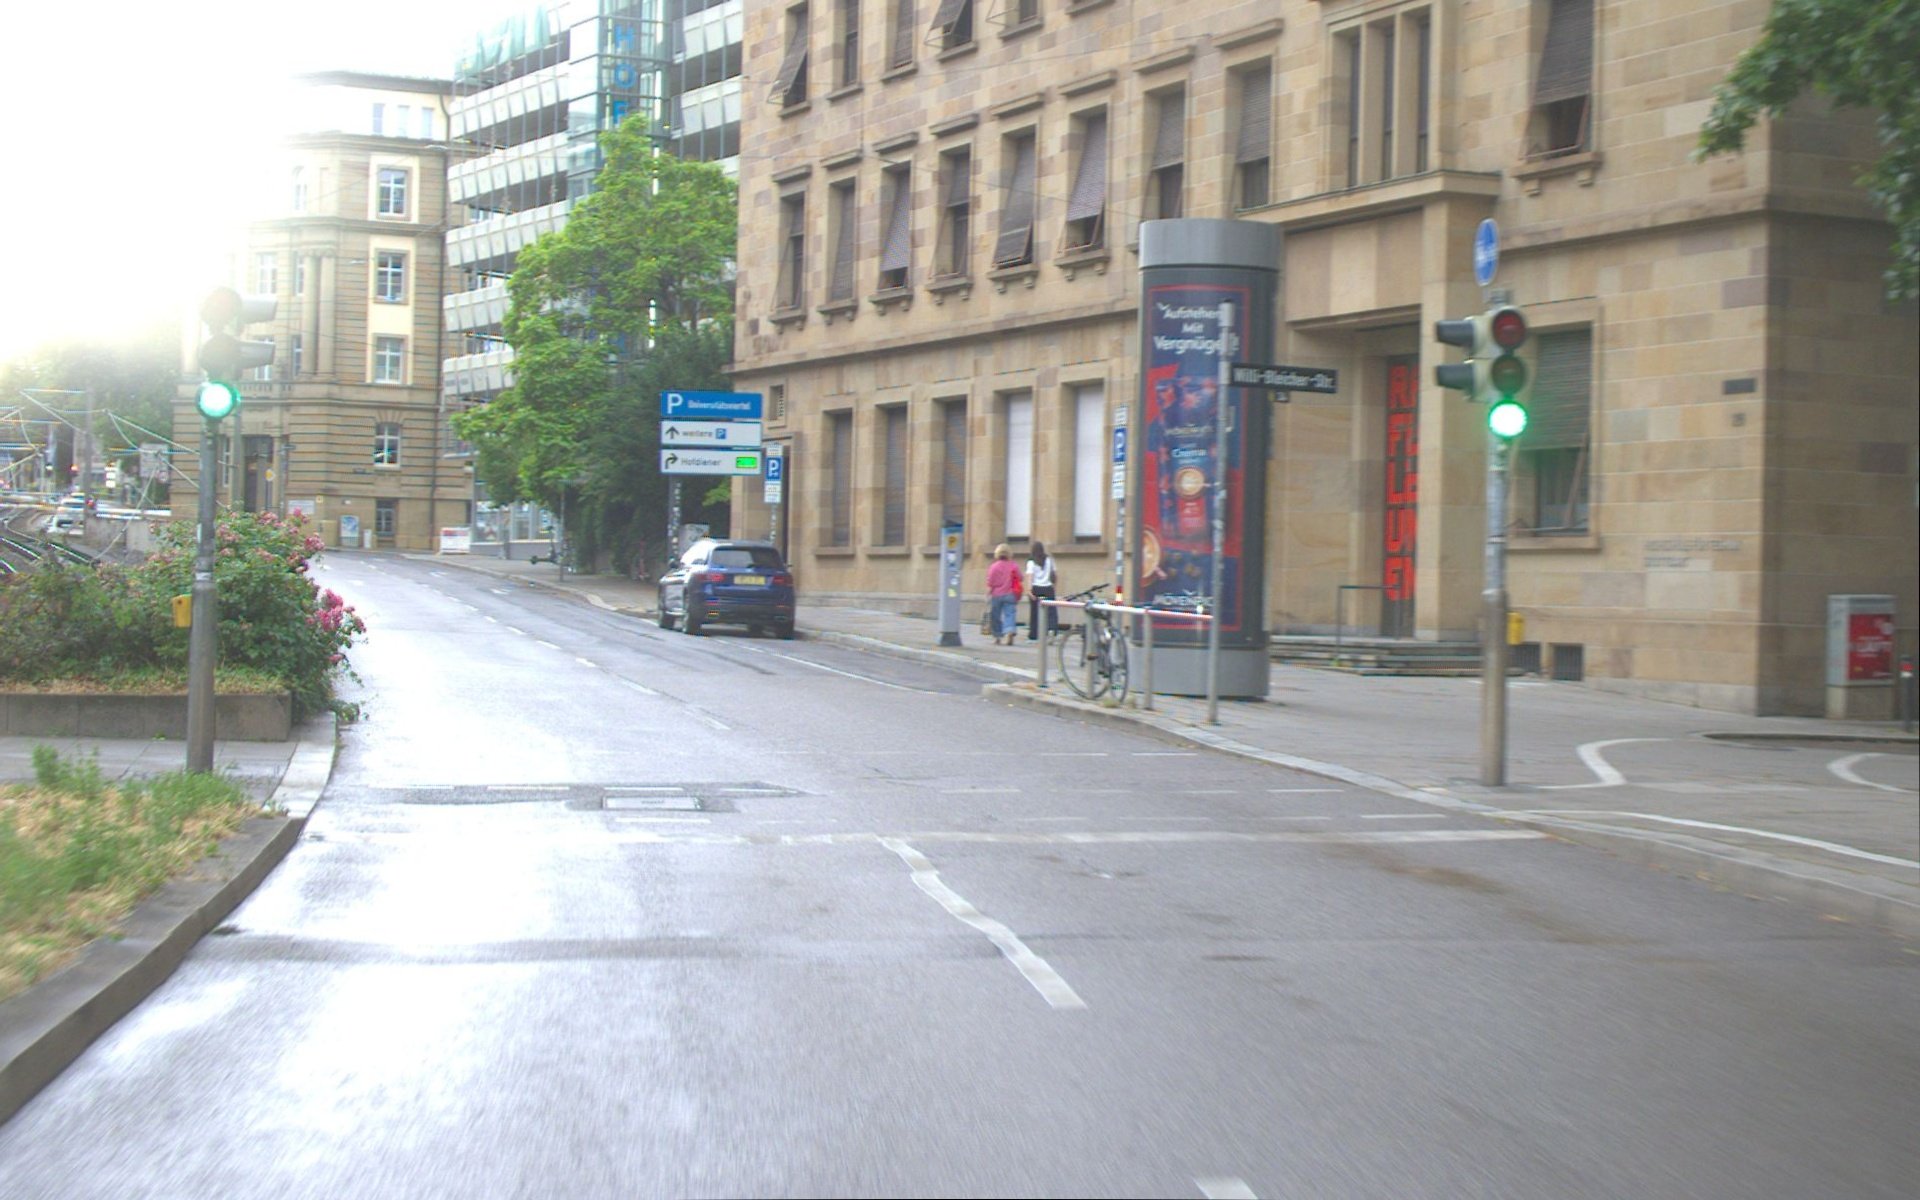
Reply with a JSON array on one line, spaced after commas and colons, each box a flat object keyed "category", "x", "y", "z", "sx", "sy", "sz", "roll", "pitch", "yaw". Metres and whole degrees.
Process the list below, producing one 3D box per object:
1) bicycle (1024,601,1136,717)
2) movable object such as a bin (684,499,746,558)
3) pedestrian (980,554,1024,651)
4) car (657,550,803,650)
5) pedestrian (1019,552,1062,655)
[{"category": "bicycle", "x": 1.115, "y": 0.543, "z": 32.377, "sx": 0.489, "sy": 1.009, "sz": 1.928, "roll": 2, "pitch": 1, "yaw": -15}, {"category": "movable object such as a bin", "x": -5.530, "y": -1.621, "z": 77.486, "sx": 1.239, "sy": 1.305, "sz": 1.234, "roll": 0, "pitch": 1, "yaw": -11}, {"category": "pedestrian", "x": 0.658, "y": 0.035, "z": 53.632, "sx": 0.524, "sy": 1.487, "sz": 0.674, "roll": 2, "pitch": 1, "yaw": -10}, {"category": "car", "x": -4.035, "y": -0.023, "z": 59.734, "sx": 1.767, "sy": 1.614, "sz": 4.159, "roll": 2, "pitch": 0, "yaw": -14}, {"category": "pedestrian", "x": 1.259, "y": 0.052, "z": 53.939, "sx": 0.524, "sy": 1.597, "sz": 0.674, "roll": 2, "pitch": 1, "yaw": -9}]
